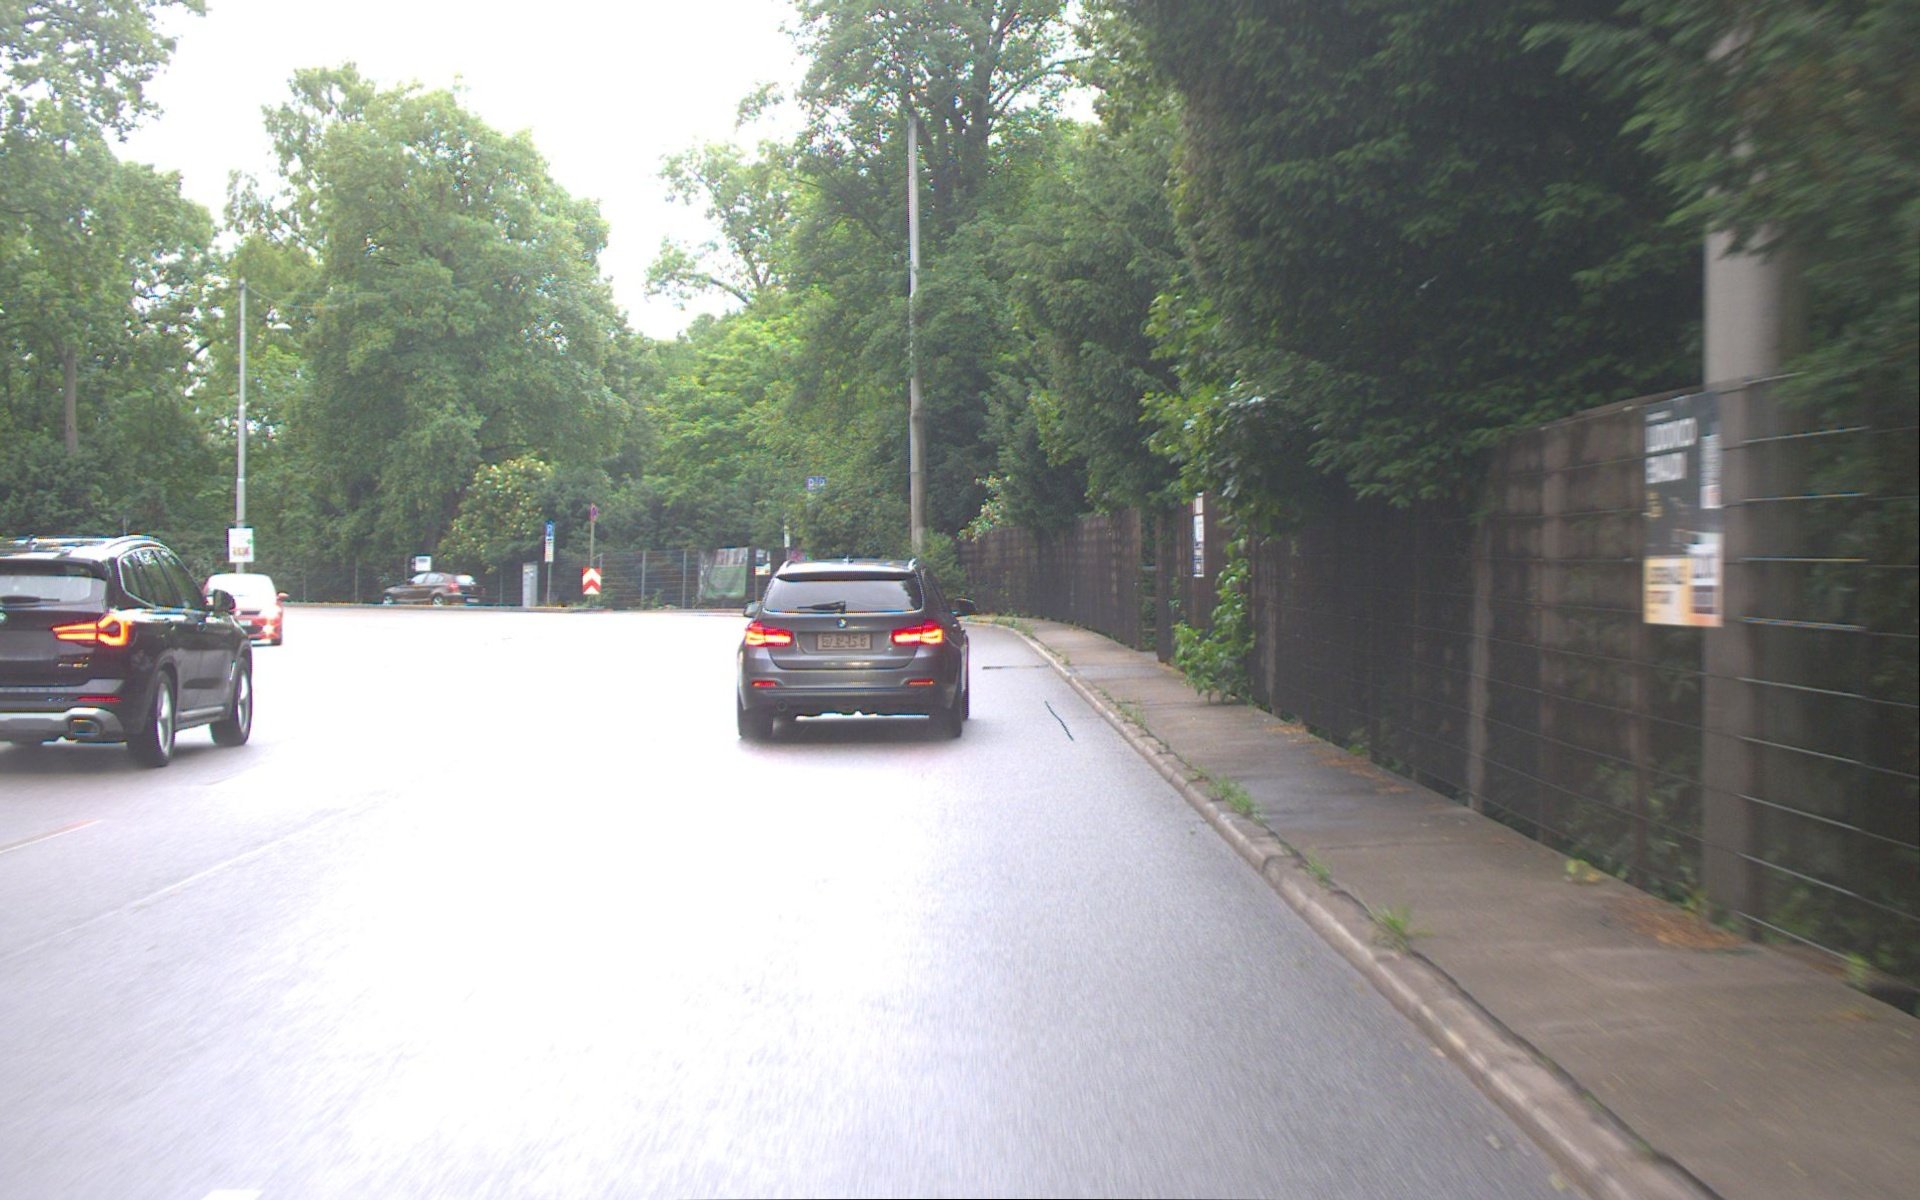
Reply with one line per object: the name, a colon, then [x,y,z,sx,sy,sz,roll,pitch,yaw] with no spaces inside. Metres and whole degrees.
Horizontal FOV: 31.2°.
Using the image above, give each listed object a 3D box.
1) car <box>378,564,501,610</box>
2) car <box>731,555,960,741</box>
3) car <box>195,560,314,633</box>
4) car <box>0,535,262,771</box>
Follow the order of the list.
car: [-17.565,-0.441,115.958,4.367,1.422,1.688,1,-2,43]
car: [-0.944,0.346,28.844,1.757,1.427,4.413,-1,1,-1]
car: [-14.097,-0.091,68.874,1.580,1.409,3.962,0,1,0]
car: [-6.468,0.327,25.564,1.757,1.580,4.413,1,1,-2]
